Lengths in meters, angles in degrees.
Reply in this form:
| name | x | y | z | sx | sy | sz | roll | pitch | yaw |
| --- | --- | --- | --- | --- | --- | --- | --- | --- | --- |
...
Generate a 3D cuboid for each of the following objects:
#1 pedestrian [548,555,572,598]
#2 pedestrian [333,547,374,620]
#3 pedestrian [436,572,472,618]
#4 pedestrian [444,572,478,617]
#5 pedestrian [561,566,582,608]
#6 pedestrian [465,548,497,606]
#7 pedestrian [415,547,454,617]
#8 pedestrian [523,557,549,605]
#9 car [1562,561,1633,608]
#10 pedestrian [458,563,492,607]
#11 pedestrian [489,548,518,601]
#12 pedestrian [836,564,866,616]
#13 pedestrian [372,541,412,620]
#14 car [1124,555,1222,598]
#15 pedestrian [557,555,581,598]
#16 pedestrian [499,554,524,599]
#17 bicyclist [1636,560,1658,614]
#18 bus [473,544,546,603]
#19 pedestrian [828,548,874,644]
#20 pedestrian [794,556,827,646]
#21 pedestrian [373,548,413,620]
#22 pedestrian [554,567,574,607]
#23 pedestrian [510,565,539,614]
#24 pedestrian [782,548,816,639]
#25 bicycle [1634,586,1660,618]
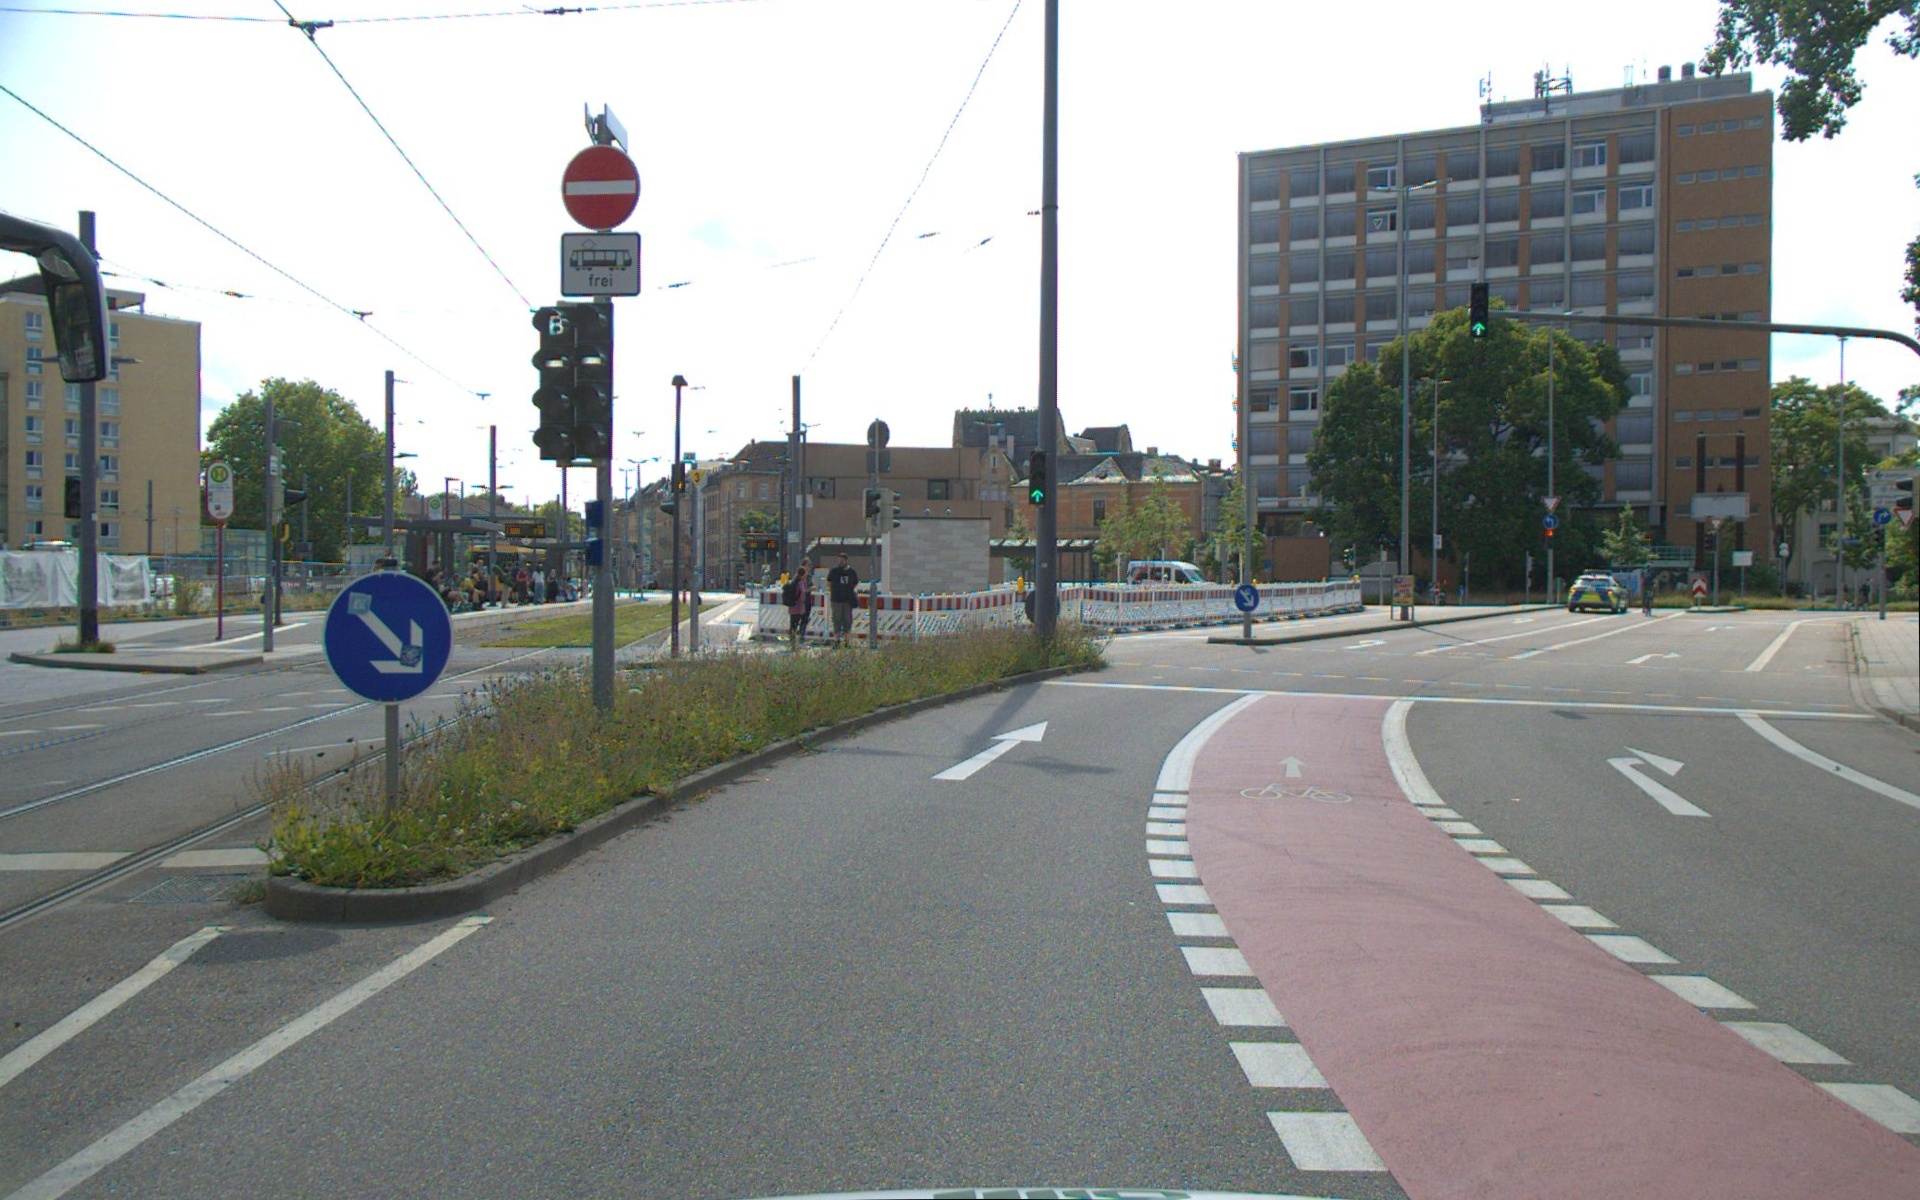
| name | x | y | z | sx | sy | sz | roll | pitch | yaw |
| --- | --- | --- | --- | --- | --- | --- | --- | --- | --- |
| pedestrian | -19.200 | -1.125 | 79.316 | 0.931 | 2.049 | 0.723 | 1 | 0 | -32 |
| pedestrian | -17.456 | -0.473 | 47.592 | 0.922 | 2.049 | 0.730 | 1 | 0 | -5 |
| pedestrian | -16.193 | -0.167 | 52.952 | 0.922 | 1.456 | 0.730 | 1 | 0 | -5 |
| pedestrian | -16.227 | -0.171 | 53.810 | 0.922 | 1.456 | 0.730 | 1 | 0 | -5 |
| pedestrian | -19.288 | -0.634 | 82.134 | 0.926 | 2.049 | 0.727 | 1 | 0 | -18 |
| pedestrian | -16.917 | -0.808 | 58.454 | 0.922 | 2.049 | 0.730 | 1 | 0 | -5 |
| pedestrian | -15.705 | -0.536 | 49.463 | 0.922 | 2.049 | 0.730 | 1 | 0 | -5 |
| pedestrian | -18.426 | -0.825 | 71.843 | 0.931 | 2.049 | 0.723 | 1 | 0 | -32 |
| car | 25.142 | -0.624 | 65.167 | 2.089 | 1.713 | 4.097 | 2 | 2 | 28 |
| pedestrian | -16.048 | -0.493 | 54.762 | 0.922 | 1.456 | 0.730 | 1 | 0 | -5 |
| pedestrian | -17.842 | -0.983 | 64.648 | 0.931 | 2.049 | 0.723 | 1 | 0 | -32 |
| pedestrian | -3.938 | -0.360 | 59.456 | 0.917 | 1.821 | 1.176 | 1 | 0 | -11 |
| pedestrian | -14.936 | -0.519 | 43.511 | 0.798 | 2.049 | 0.798 | 1 | 0 | -5 |
| car | 12.257 | -1.331 | 95.510 | 2.283 | 2.359 | 5.502 | 0 | 0 | -42 |
| pedestrian | -19.005 | -1.126 | 80.327 | 0.931 | 2.049 | 0.723 | 1 | 0 | -32 |
| pedestrian | -20.618 | -1.068 | 75.990 | 0.931 | 2.049 | 0.723 | 1 | 0 | -32 |
| bicyclist | 26.000 | -0.482 | 62.573 | 0.704 | 2.008 | 0.838 | 0 | 1 | 28 |
| bus | -24.638 | -1.440 | 90.826 | 2.376 | 3.034 | 10.528 | 0 | 1 | -7 |
| pedestrian | -2.222 | -0.082 | 33.570 | 0.780 | 1.917 | 0.609 | 0 | 1 | -22 |
| pedestrian | -2.993 | 0.014 | 33.050 | 0.400 | 1.766 | 0.621 | 0 | 1 | 24 |
| pedestrian | -16.478 | -0.461 | 48.108 | 0.922 | 2.049 | 0.730 | 1 | 0 | -5 |
| pedestrian | -20.448 | -0.663 | 85.380 | 0.926 | 2.049 | 0.727 | 1 | 0 | -18 |
| pedestrian | -18.304 | -0.441 | 69.510 | 0.933 | 2.049 | 0.722 | 1 | 0 | -36 |
| pedestrian | -3.109 | -0.125 | 31.912 | 0.600 | 1.736 | 0.621 | 0 | 1 | -12 |
| bicycle | 25.944 | 0.067 | 62.459 | 0.707 | 1.103 | 2.188 | 0 | 2 | 28 |
